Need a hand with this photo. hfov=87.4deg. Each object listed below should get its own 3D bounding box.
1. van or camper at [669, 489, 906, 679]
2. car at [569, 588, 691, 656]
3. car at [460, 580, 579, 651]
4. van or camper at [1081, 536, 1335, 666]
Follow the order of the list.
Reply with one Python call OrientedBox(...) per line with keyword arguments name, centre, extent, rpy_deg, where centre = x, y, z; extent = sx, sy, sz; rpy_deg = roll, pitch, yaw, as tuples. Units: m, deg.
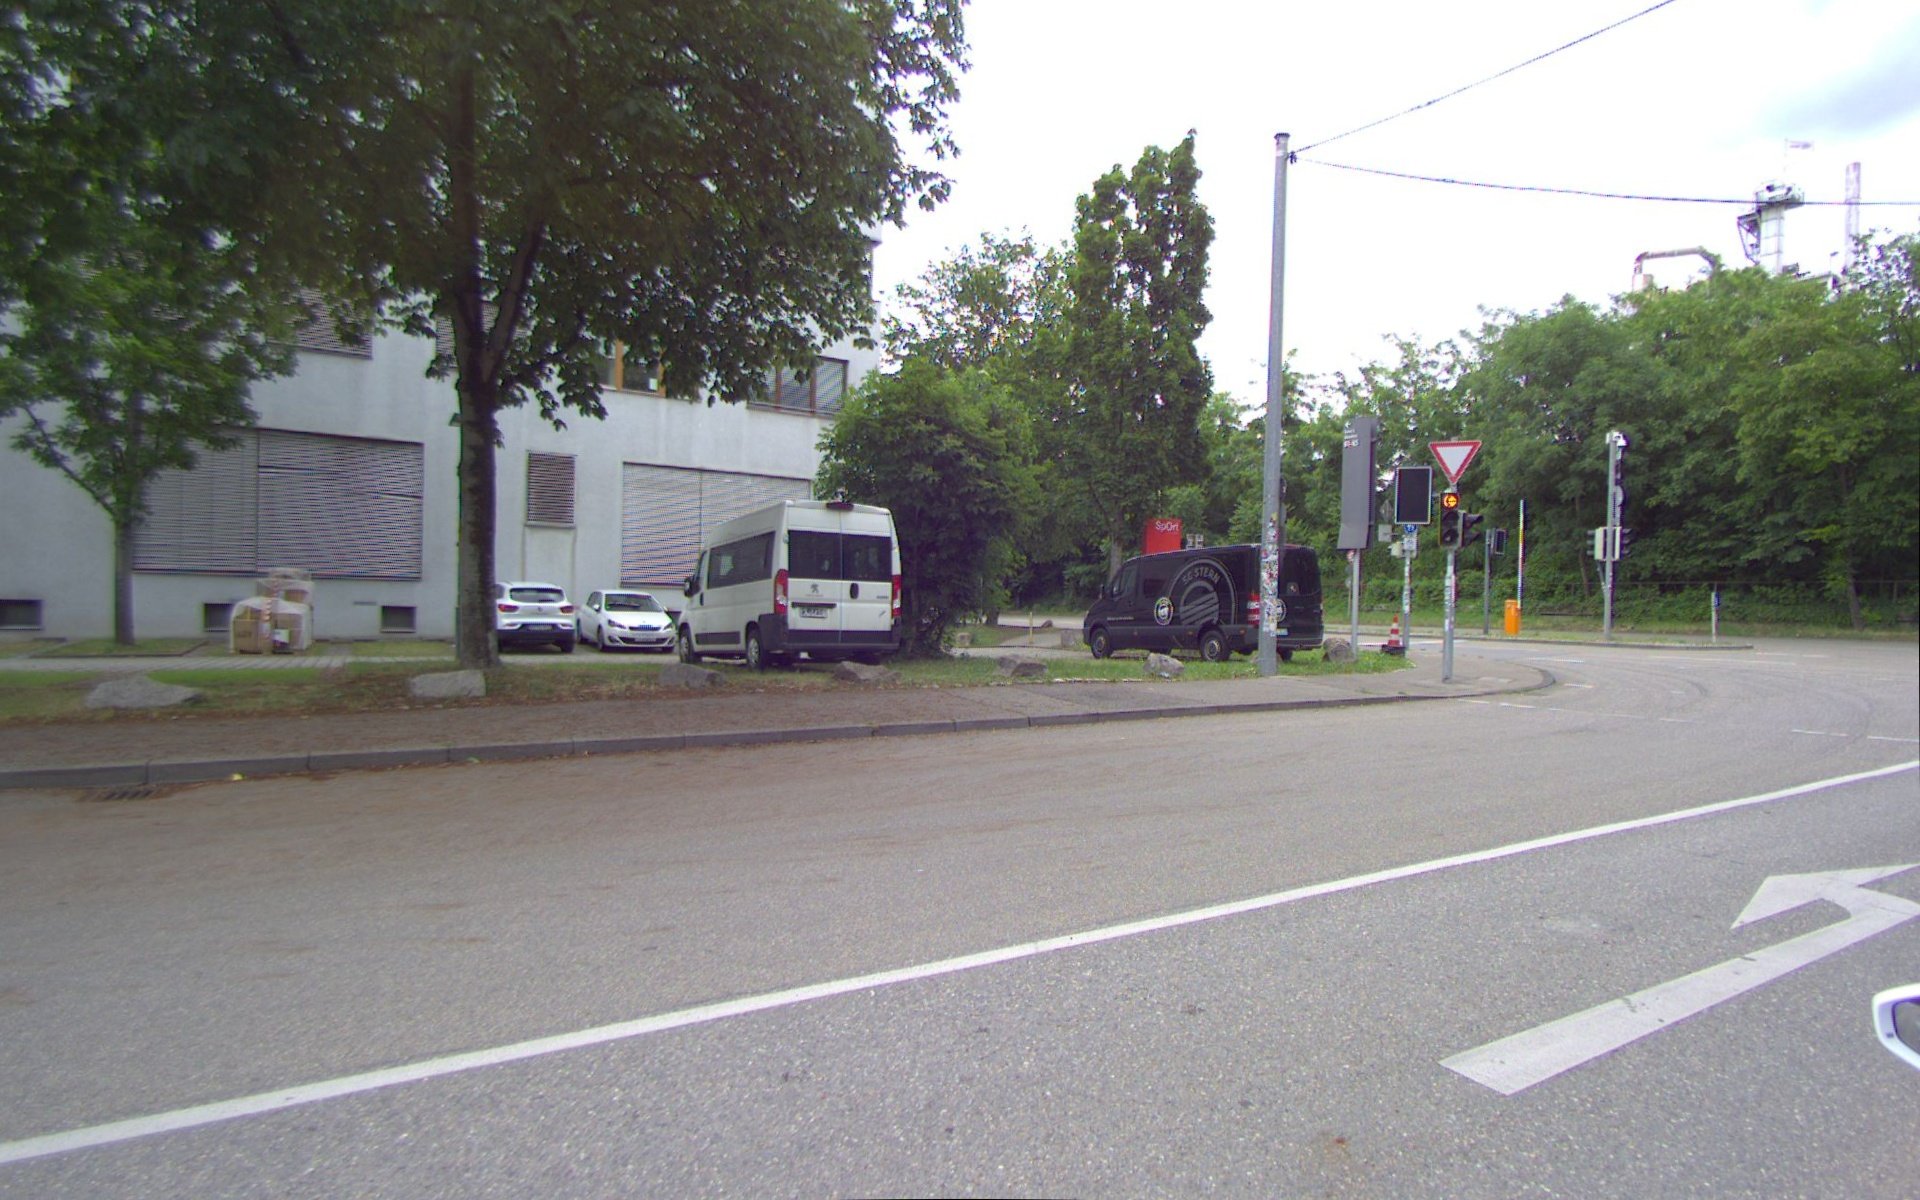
OrientedBox(name="van or camper", centre=(-3.008, -0.243, 16.431), extent=(2.039, 2.604, 4.943), rpy_deg=(3, 0, -32))
OrientedBox(name="car", centre=(-8.474, 0.525, 25.598), extent=(1.881, 1.475, 3.972), rpy_deg=(3, 0, -34))
OrientedBox(name="car", centre=(-10.574, 0.334, 23.975), extent=(1.881, 1.475, 3.972), rpy_deg=(3, 0, -34))
OrientedBox(name="van or camper", centre=(5.009, 0.122, 21.257), extent=(2.036, 2.343, 5.513), rpy_deg=(3, -3, -28))
